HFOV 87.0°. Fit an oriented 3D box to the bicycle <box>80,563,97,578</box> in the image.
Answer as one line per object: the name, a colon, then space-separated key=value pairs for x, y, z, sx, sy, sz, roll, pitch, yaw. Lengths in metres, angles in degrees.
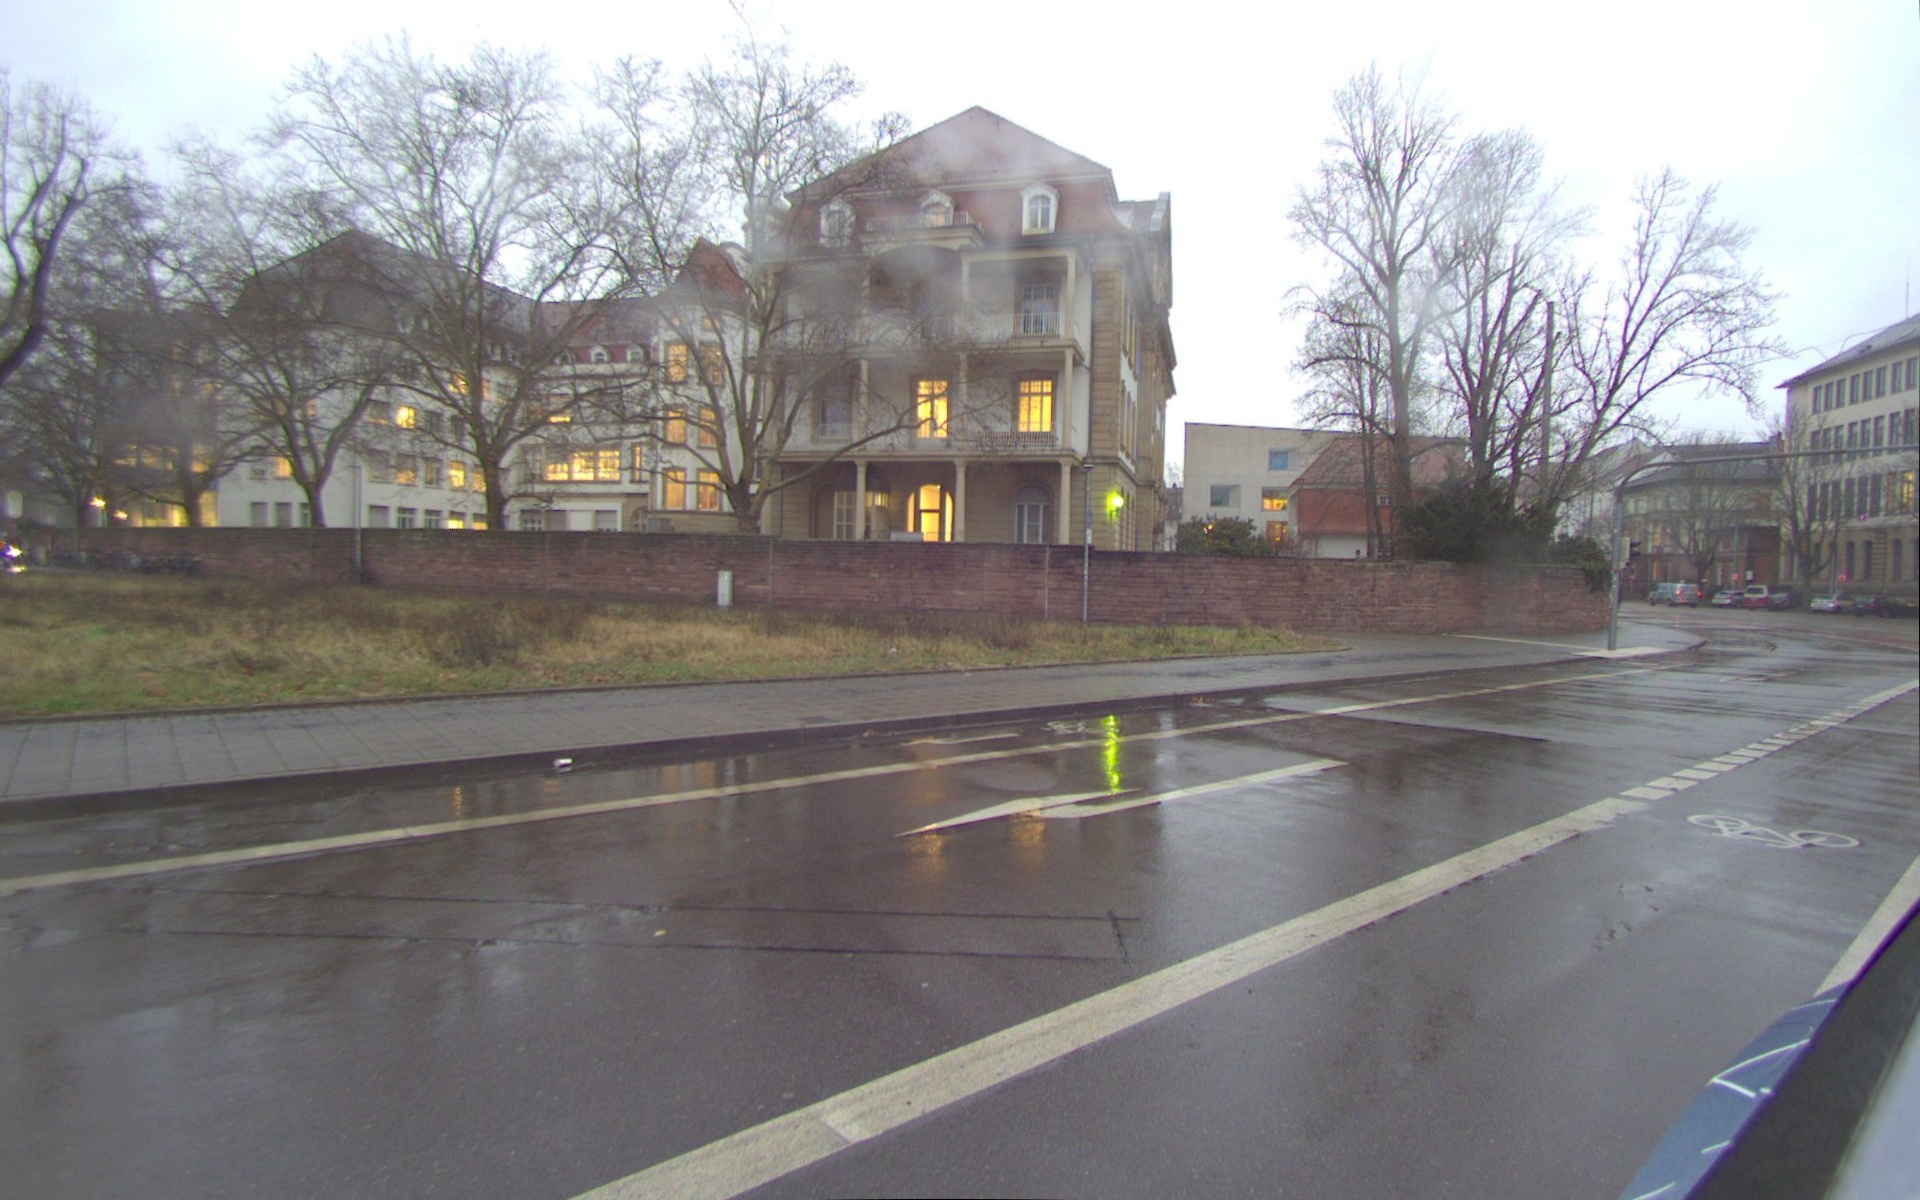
bicycle: x=-45.443 y=-1.534 z=52.741 sx=1.522 sy=0.796 sz=0.389 roll=0 pitch=0 yaw=38

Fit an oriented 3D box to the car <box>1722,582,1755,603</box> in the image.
car: x=66.480 y=-0.644 z=86.386 sx=1.992 sy=1.690 sz=3.940 roll=0 pitch=1 yaw=42

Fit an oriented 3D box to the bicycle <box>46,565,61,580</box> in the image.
bicycle: x=-51.610 y=-1.549 z=57.593 sx=1.522 sy=0.796 sz=0.389 roll=0 pitch=0 yaw=38

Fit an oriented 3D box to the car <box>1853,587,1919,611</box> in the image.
car: x=61.962 y=-0.060 z=67.004 sx=3.927 sy=1.570 sz=1.800 roll=0 pitch=0 yaw=4

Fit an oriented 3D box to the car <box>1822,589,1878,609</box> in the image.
car: x=63.601 y=-0.081 z=72.299 sx=3.568 sy=1.322 sz=1.712 roll=-1 pitch=0 yaw=-25

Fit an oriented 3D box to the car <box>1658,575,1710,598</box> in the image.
car: x=60.081 y=-1.088 z=84.093 sx=1.852 sy=1.868 sz=3.991 roll=0 pitch=0 yaw=8

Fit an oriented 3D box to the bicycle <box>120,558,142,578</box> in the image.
bicycle: x=-39.910 y=-1.541 z=48.722 sx=1.519 sy=0.928 sz=0.389 roll=0 pitch=0 yaw=33

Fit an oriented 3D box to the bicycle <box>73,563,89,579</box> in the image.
bicycle: x=-46.674 y=-1.537 z=53.720 sx=1.522 sy=0.796 sz=0.389 roll=0 pitch=0 yaw=38

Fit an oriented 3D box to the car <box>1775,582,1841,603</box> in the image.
car: x=64.698 y=-0.585 z=77.224 sx=3.916 sy=1.570 sz=1.805 roll=0 pitch=0 yaw=-13

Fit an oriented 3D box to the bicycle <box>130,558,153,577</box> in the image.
bicycle: x=-38.628 y=-1.509 z=47.768 sx=1.519 sy=0.869 sz=0.389 roll=0 pitch=0 yaw=33

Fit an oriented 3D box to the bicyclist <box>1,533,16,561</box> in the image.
bicyclist: x=-56.591 y=-3.138 z=60.204 sx=0.450 sy=1.662 sz=0.603 roll=0 pitch=0 yaw=37

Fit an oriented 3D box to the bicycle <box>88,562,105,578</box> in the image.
bicycle: x=-44.180 y=-1.531 z=51.768 sx=1.522 sy=0.796 sz=0.389 roll=0 pitch=0 yaw=38

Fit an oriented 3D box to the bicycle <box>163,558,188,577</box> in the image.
bicycle: x=-35.552 y=-1.470 z=45.859 sx=1.519 sy=0.796 sz=0.389 roll=0 pitch=0 yaw=33

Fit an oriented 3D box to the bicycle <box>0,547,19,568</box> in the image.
bicycle: x=-56.584 y=-2.541 z=60.195 sx=1.670 sy=1.182 sz=0.603 roll=0 pitch=0 yaw=37

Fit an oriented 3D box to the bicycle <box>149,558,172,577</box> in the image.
bicycle: x=-37.032 y=-1.499 z=46.885 sx=1.480 sy=0.849 sz=0.346 roll=0 pitch=0 yaw=32

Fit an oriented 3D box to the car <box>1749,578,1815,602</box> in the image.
car: x=64.980 y=-0.791 z=80.022 sx=3.916 sy=1.924 sz=2.052 roll=0 pitch=0 yaw=-13

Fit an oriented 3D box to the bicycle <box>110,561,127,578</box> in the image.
bicycle: x=-41.476 y=-1.478 z=49.876 sx=1.599 sy=0.796 sz=0.388 roll=0 pitch=0 yaw=41

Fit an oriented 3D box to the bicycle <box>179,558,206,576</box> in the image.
bicycle: x=-34.212 y=-1.470 z=45.110 sx=1.399 sy=0.796 sz=0.355 roll=0 pitch=0 yaw=26

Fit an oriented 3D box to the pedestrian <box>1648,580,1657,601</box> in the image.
pedestrian: x=67.903 y=-0.917 z=99.205 sx=0.539 sy=2.038 sz=0.472 roll=2 pitch=2 yaw=16

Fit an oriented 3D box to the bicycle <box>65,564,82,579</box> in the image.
bicycle: x=-47.897 y=-1.540 z=54.674 sx=1.522 sy=0.796 sz=0.389 roll=0 pitch=0 yaw=38

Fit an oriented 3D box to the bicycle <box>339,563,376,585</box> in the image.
bicycle: x=-23.386 y=-0.990 z=39.271 sx=1.366 sy=0.835 sz=0.392 roll=0 pitch=0 yaw=14

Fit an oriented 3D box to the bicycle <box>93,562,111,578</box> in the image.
bicycle: x=-43.133 y=-1.497 z=50.897 sx=1.522 sy=0.796 sz=0.389 roll=0 pitch=0 yaw=38
